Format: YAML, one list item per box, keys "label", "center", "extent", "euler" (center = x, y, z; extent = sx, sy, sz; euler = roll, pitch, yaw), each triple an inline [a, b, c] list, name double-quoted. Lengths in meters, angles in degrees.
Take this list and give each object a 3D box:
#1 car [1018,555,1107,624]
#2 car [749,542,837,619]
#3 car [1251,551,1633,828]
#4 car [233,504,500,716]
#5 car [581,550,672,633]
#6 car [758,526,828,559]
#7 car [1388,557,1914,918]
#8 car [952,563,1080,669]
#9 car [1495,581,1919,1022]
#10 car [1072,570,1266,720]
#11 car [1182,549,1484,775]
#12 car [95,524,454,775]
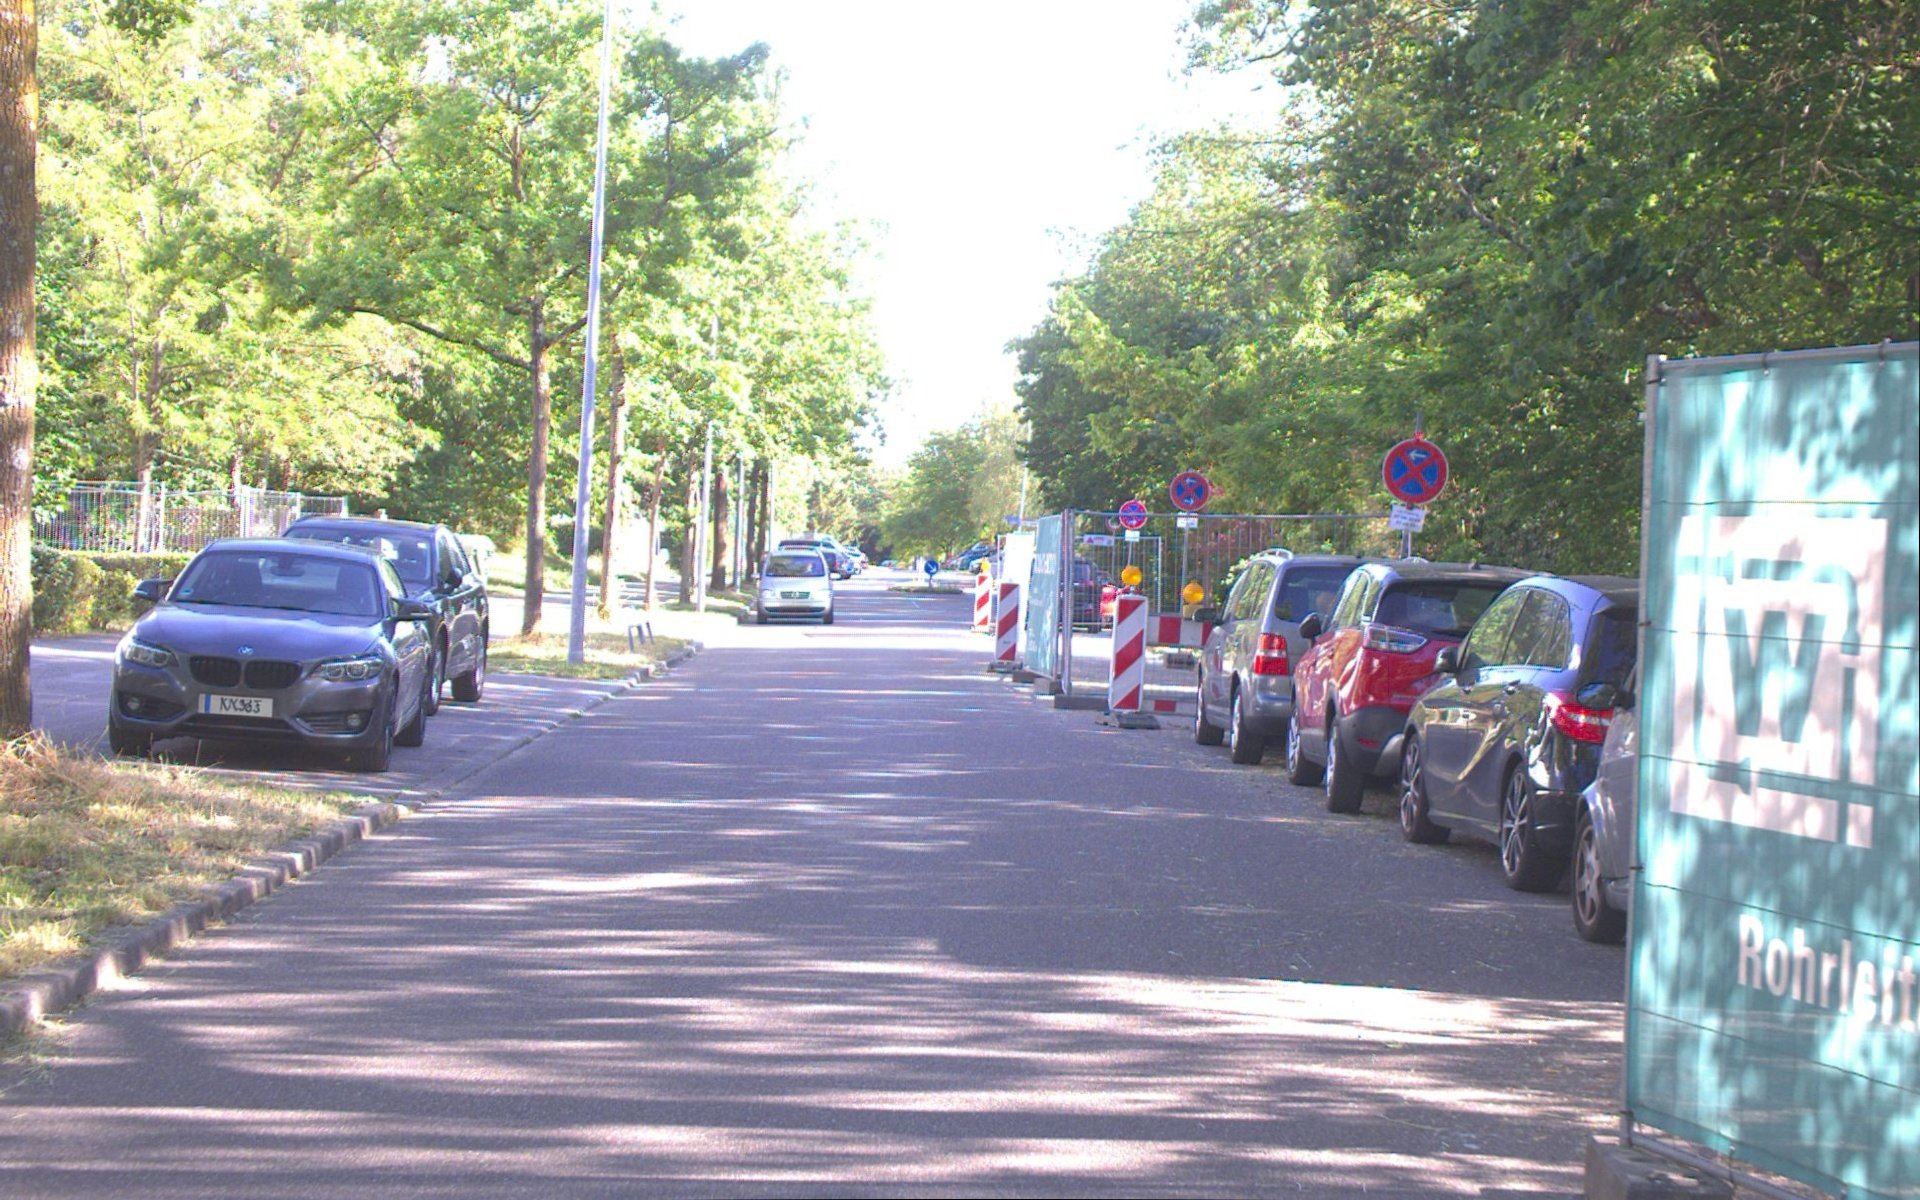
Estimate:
- label: "car"
  center: [2.238, -0.245, 75.951]
  extent: [1.794, 1.405, 4.000]
  euler: [2, 1, 0]
- label: "car"
  center: [-3.757, -0.423, 76.776]
  extent: [1.710, 1.579, 4.001]
  euler: [3, 0, -5]
- label: "car"
  center: [3.047, 0.511, 22.445]
  extent: [1.753, 1.590, 3.658]
  euler: [2, 1, -3]
- label: "car"
  center: [-5.120, 0.059, 30.065]
  extent: [1.689, 1.669, 3.502]
  euler: [3, 1, -1]
- label: "car"
  center: [-5.633, -0.143, 58.363]
  extent: [1.361, 1.298, 3.482]
  euler: [3, 0, -4]
- label: "car"
  center: [-9.562, -3.271, 196.402]
  extent: [3.709, 1.685, 1.581]
  euler: [3, 1, -11]
- label: "car"
  center: [3.421, 0.616, 17.703]
  extent: [1.753, 1.590, 3.658]
  euler: [2, 1, -3]
- label: "car"
  center: [0.714, 0.202, 45.953]
  extent: [1.361, 1.298, 3.482]
  euler: [3, 0, -4]
- label: "car"
  center: [3.185, 0.705, 13.490]
  extent: [1.500, 1.473, 3.059]
  euler: [2, 1, -3]
- label: "car"
  center: [1.959, 0.405, 33.010]
  extent: [1.361, 1.298, 3.482]
  euler: [3, 0, -4]
- label: "car"
  center: [2.866, 0.430, 27.121]
  extent: [1.753, 1.590, 3.658]
  euler: [2, 1, -3]
- label: "car"
  center: [-4.488, 0.277, 23.010]
  extent: [1.750, 1.473, 3.837]
  euler: [2, 1, -3]
